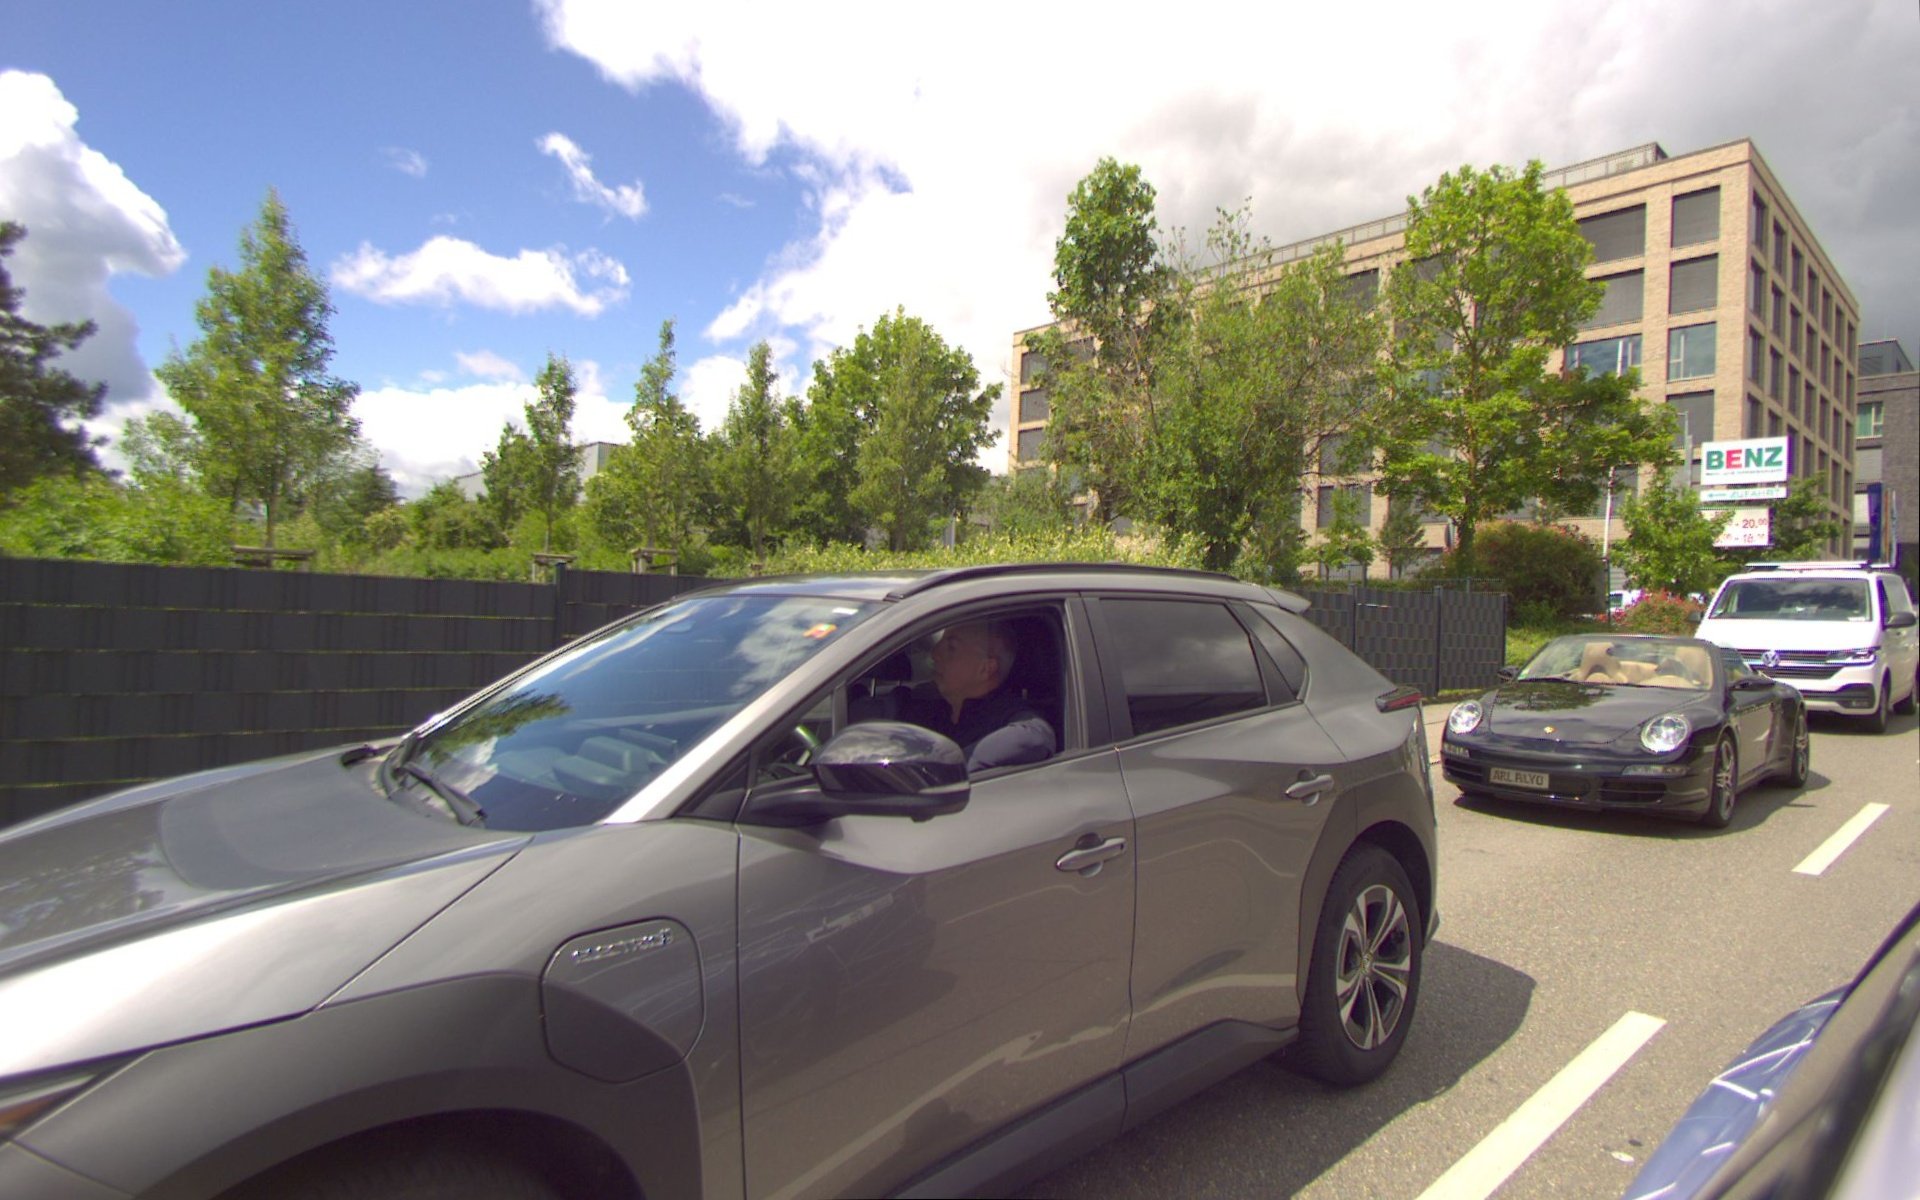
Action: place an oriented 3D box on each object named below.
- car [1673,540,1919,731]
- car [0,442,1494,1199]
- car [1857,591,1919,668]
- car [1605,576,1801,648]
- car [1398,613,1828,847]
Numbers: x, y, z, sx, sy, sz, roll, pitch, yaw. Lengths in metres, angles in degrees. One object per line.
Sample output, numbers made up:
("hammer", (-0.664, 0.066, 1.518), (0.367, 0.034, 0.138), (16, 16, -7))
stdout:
("car", (11.333, 0.379, 13.355), (4.677, 2.075, 2.087), (0, 0, -41))
("car", (-0.400, 0.637, 2.940), (4.501, 1.649, 1.997), (0, 1, -42))
("car", (20.235, 0.584, 21.078), (3.930, 1.481, 1.817), (0, 2, -41))
("car", (19.895, 0.255, 27.197), (1.793, 1.754, 3.991), (0, 2, -44))
("car", (5.285, 0.796, 7.993), (3.967, 1.310, 1.823), (0, 0, -41))
